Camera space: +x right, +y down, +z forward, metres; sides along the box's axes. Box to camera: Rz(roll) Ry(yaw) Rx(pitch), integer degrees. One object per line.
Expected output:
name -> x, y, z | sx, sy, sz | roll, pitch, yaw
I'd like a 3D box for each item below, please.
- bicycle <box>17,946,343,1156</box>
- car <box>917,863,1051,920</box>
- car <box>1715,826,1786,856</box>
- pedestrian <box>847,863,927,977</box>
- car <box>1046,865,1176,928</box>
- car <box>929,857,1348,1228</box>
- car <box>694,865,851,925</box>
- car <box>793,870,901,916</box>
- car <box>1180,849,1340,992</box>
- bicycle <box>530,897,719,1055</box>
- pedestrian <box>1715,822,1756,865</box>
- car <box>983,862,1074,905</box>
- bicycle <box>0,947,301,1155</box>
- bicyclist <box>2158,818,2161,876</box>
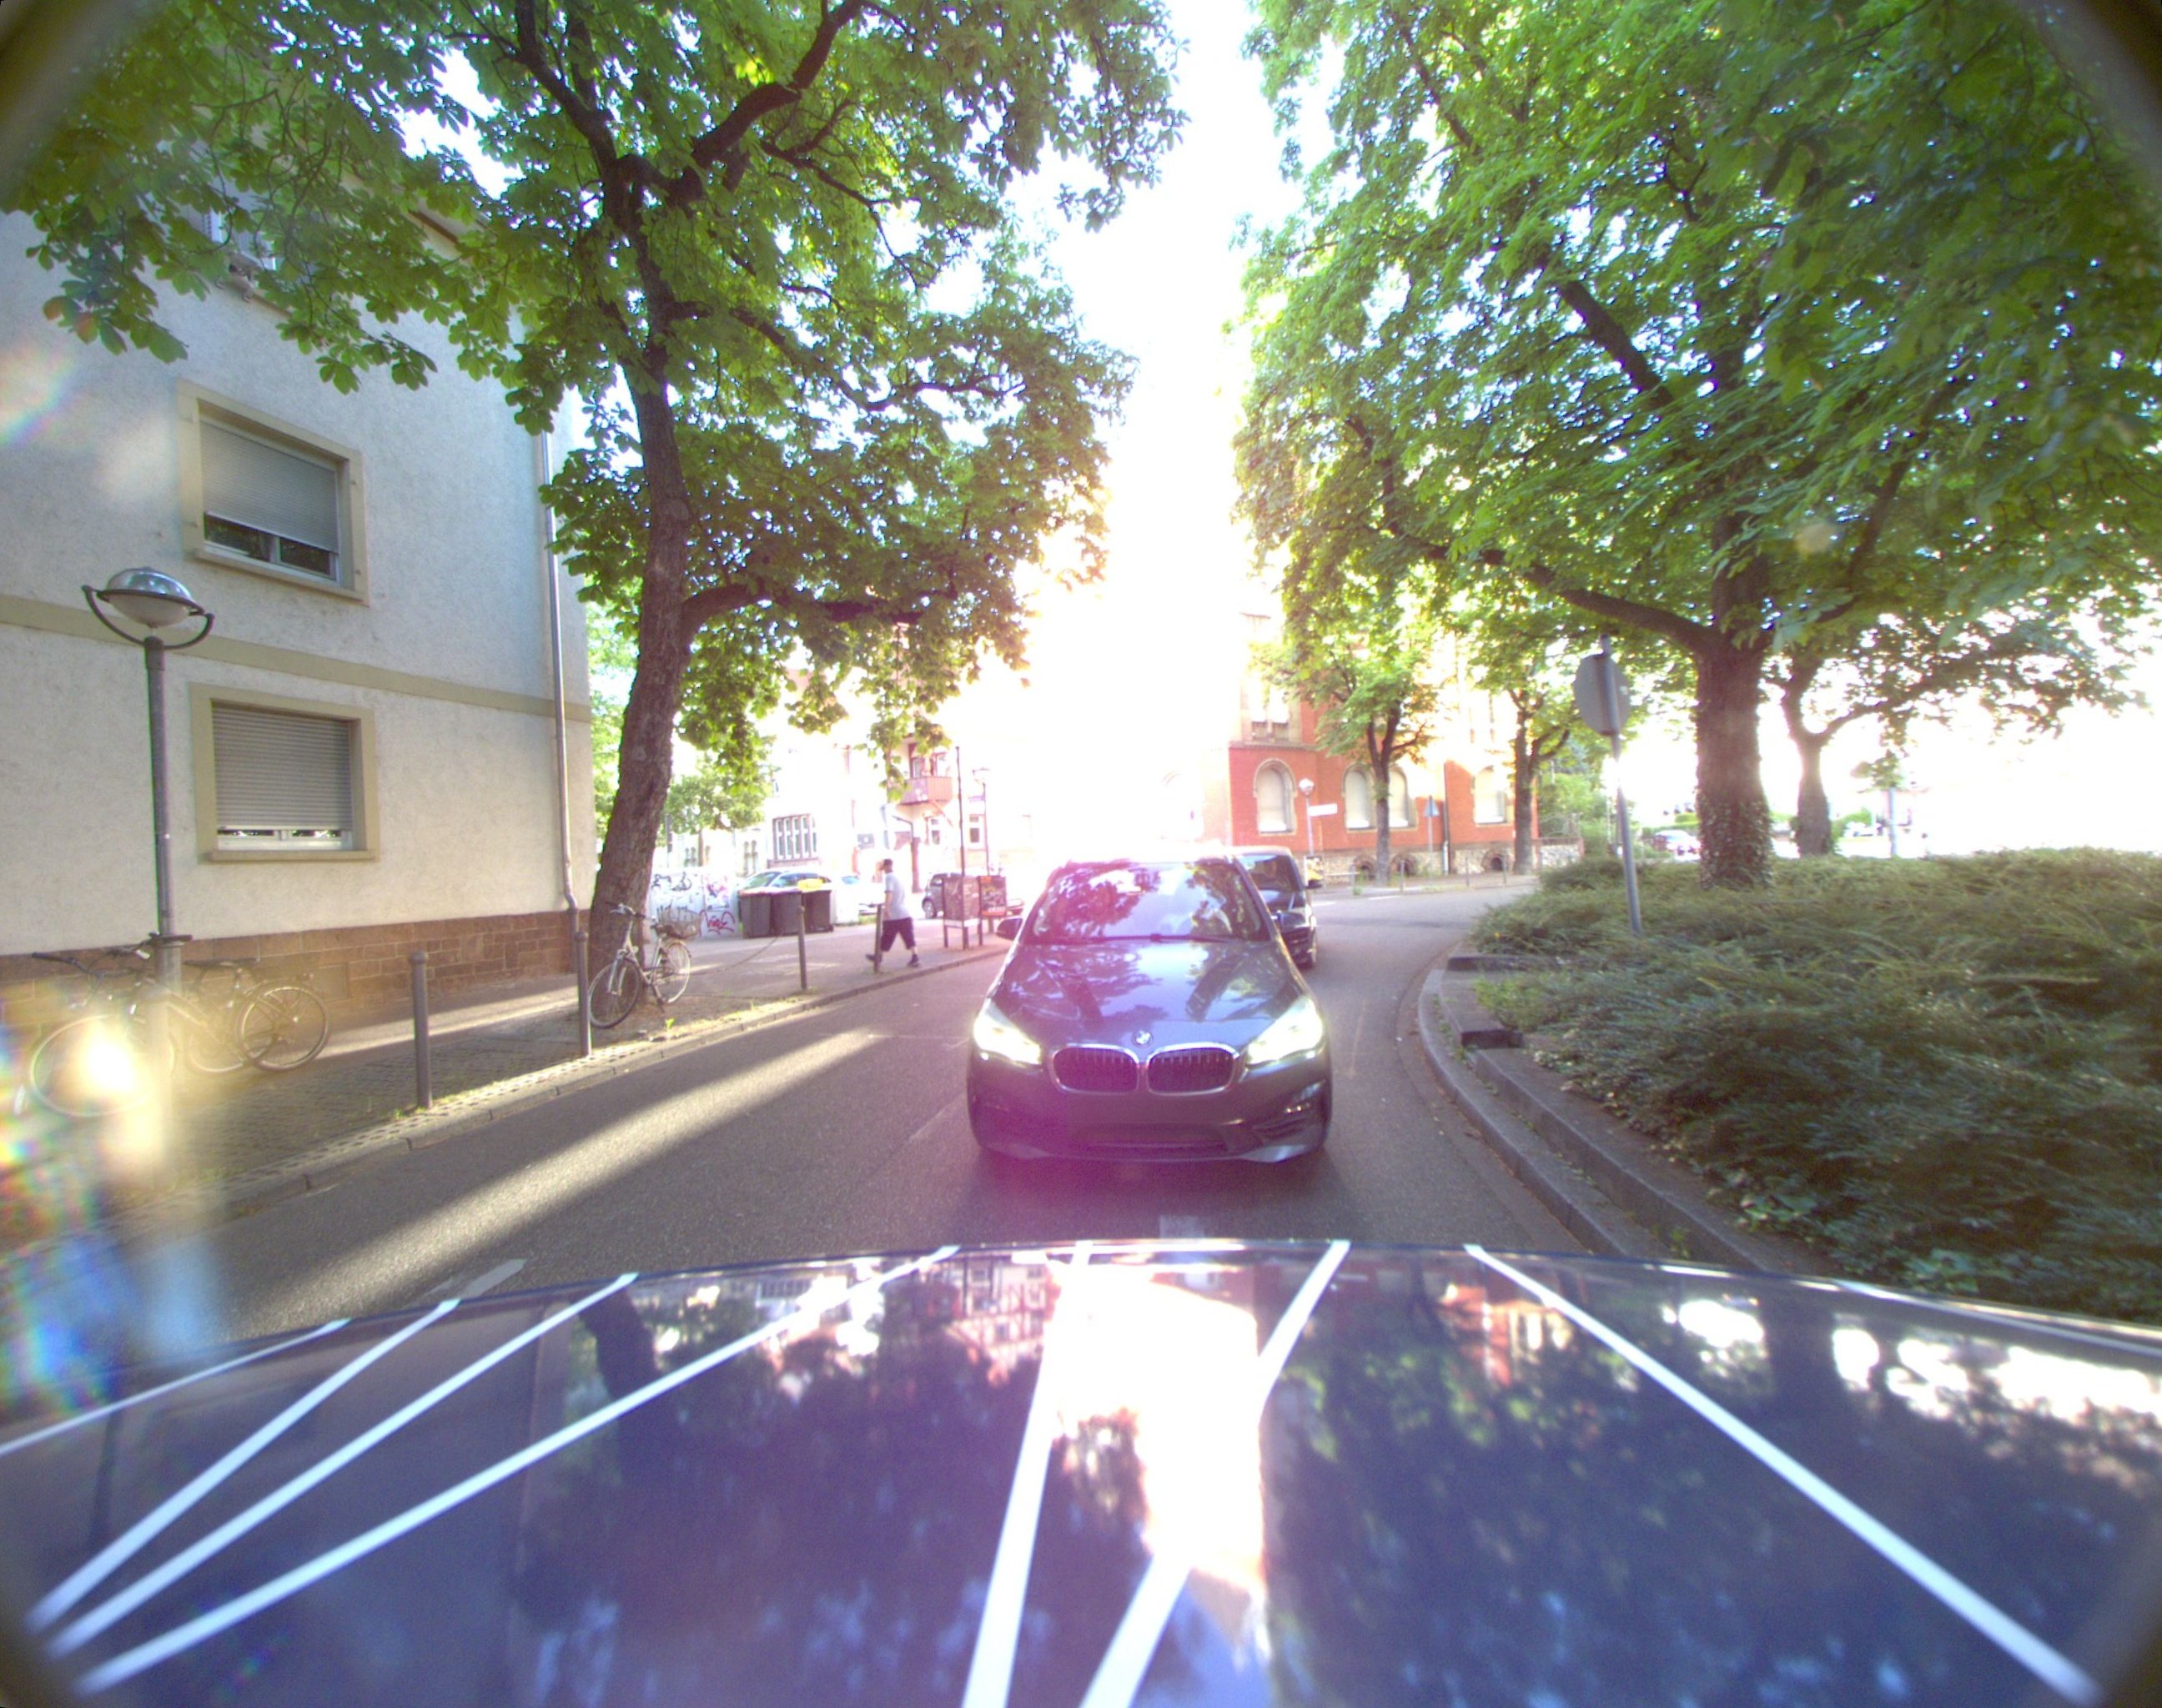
bicycle -> -6.368, 1.320, 5.519 | 0.334, 1.087, 1.636 | -3, 0, 1
car -> -3.051, 1.167, 23.461 | 4.041, 1.543, 1.700 | -3, 0, 39
car -> 35.221, -0.704, 40.097 | 1.733, 1.409, 4.006 | -3, 0, 25
pedestrian -> -2.832, 0.946, 11.128 | 0.943, 1.583, 0.643 | 1, 1, 7
car -> 0.684, 1.036, 19.212 | 1.475, 1.381, 3.393 | -3, 0, -35
car -> 0.461, 0.855, 5.483 | 1.792, 1.569, 4.262 | -2, 0, 6
car -> -8.807, 1.140, 21.944 | 1.672, 1.417, 3.811 | -3, 0, 36
car -> -8.882, 1.494, 28.709 | 4.175, 1.543, 1.809 | -3, 0, 39
car -> 2.353, 0.786, 10.829 | 1.679, 1.619, 3.689 | -3, 0, 6
bicycle -> -4.603, 1.165, 7.859 | 0.767, 1.297, 1.903 | -3, 0, -1
pedestrian -> 26.061, -0.421, 30.258 | 0.905, 1.625, 0.725 | -5, 0, -13
car -> -2.030, 1.116, 29.039 | 3.207, 1.530, 1.495 | -2, 0, 38
bicycle -> -6.742, 1.333, 5.543 | 0.334, 1.087, 1.636 | -3, 0, 1
bicyclist -> 29.298, -0.198, 20.158 | 0.597, 1.564, 0.556 | -3, 0, 20
